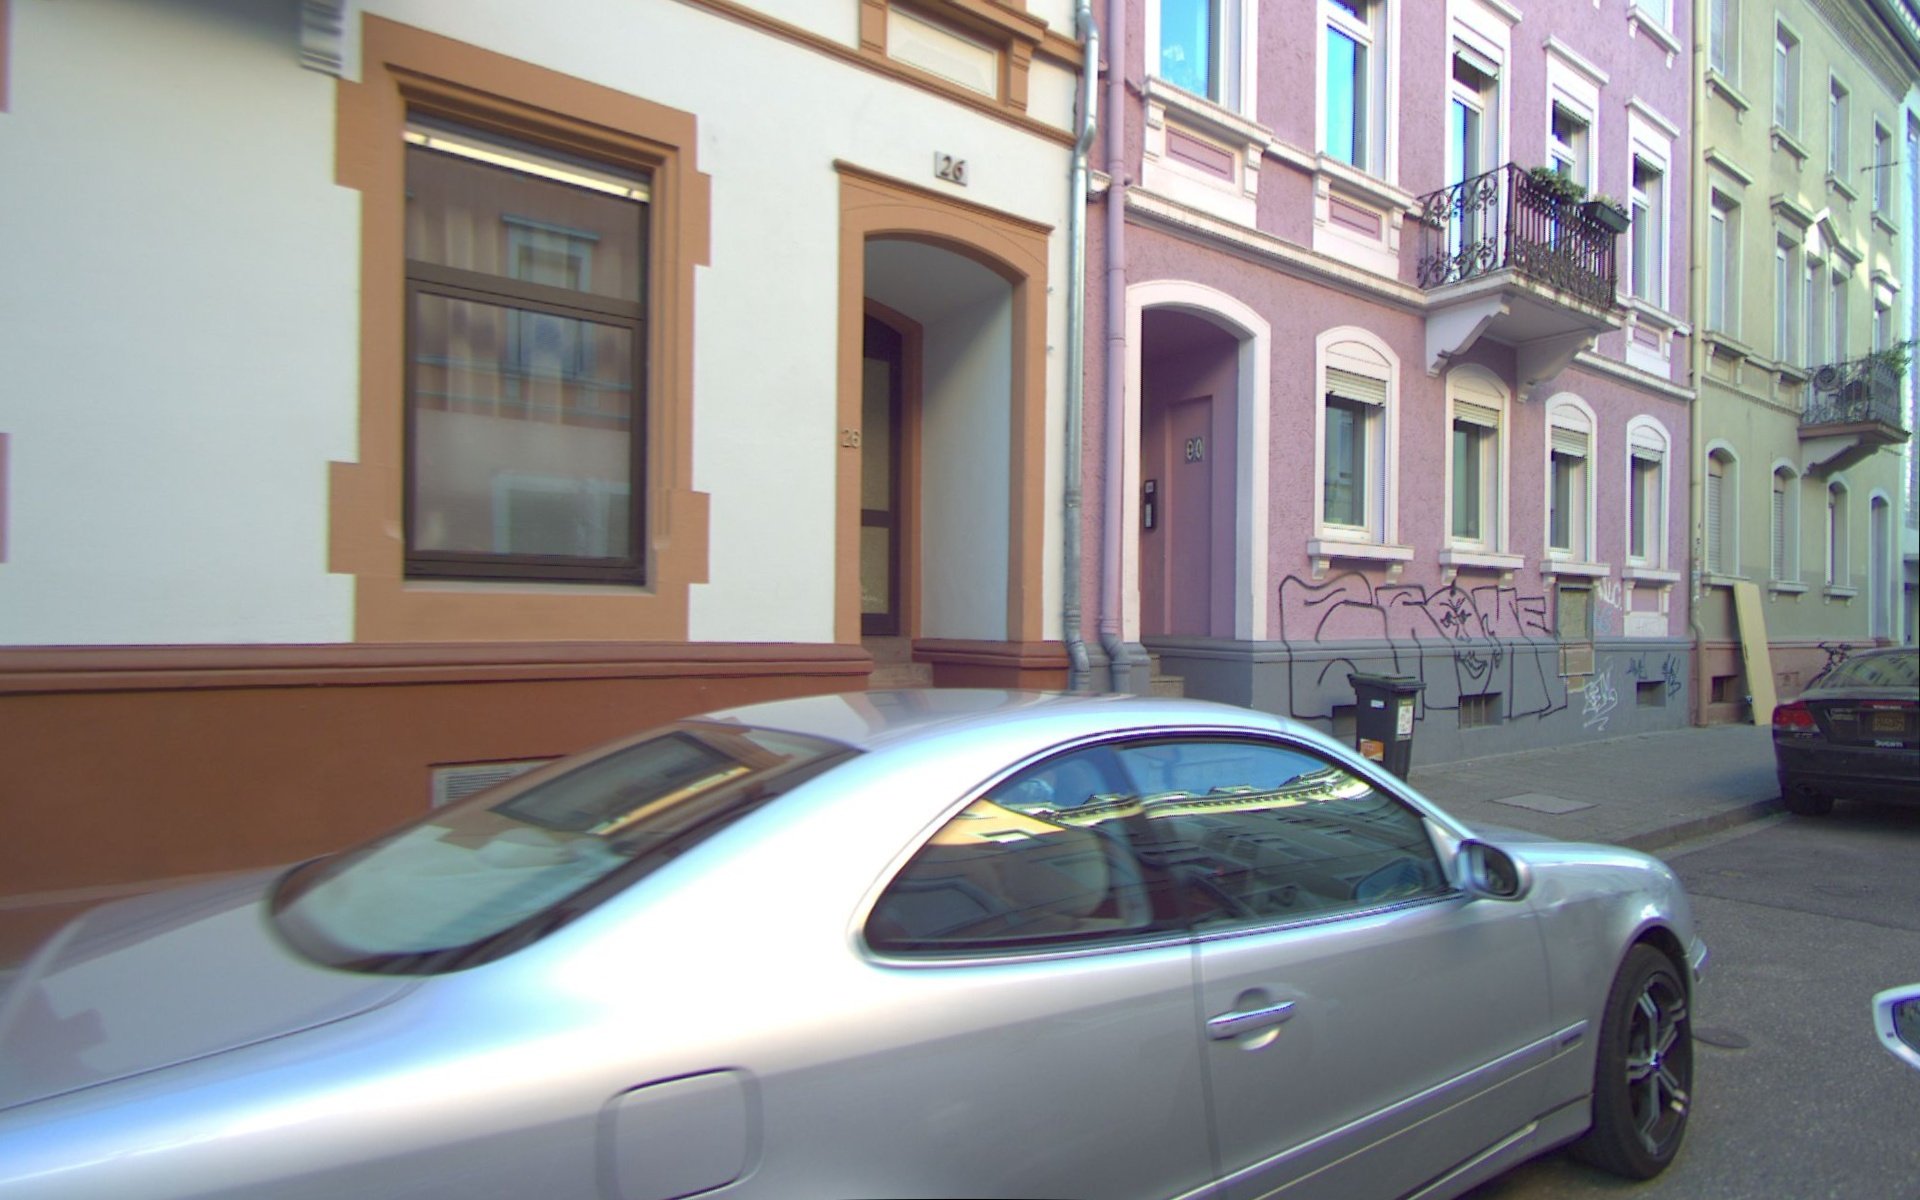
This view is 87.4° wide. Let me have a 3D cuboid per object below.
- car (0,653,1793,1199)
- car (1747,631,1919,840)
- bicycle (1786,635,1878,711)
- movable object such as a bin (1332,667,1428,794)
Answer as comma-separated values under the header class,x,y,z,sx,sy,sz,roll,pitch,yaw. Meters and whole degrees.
class,x,y,z,sx,sy,sz,roll,pitch,yaw
car,0.415,0.856,2.706,4.461,1.401,1.700,2,-3,-35
car,8.495,1.001,8.414,4.308,1.402,1.701,0,-1,-33
bicycle,13.700,1.116,15.756,2.058,1.103,0.589,2,0,-35
movable object such as a bin,3.454,1.055,8.271,0.482,0.957,0.540,2,0,-34
